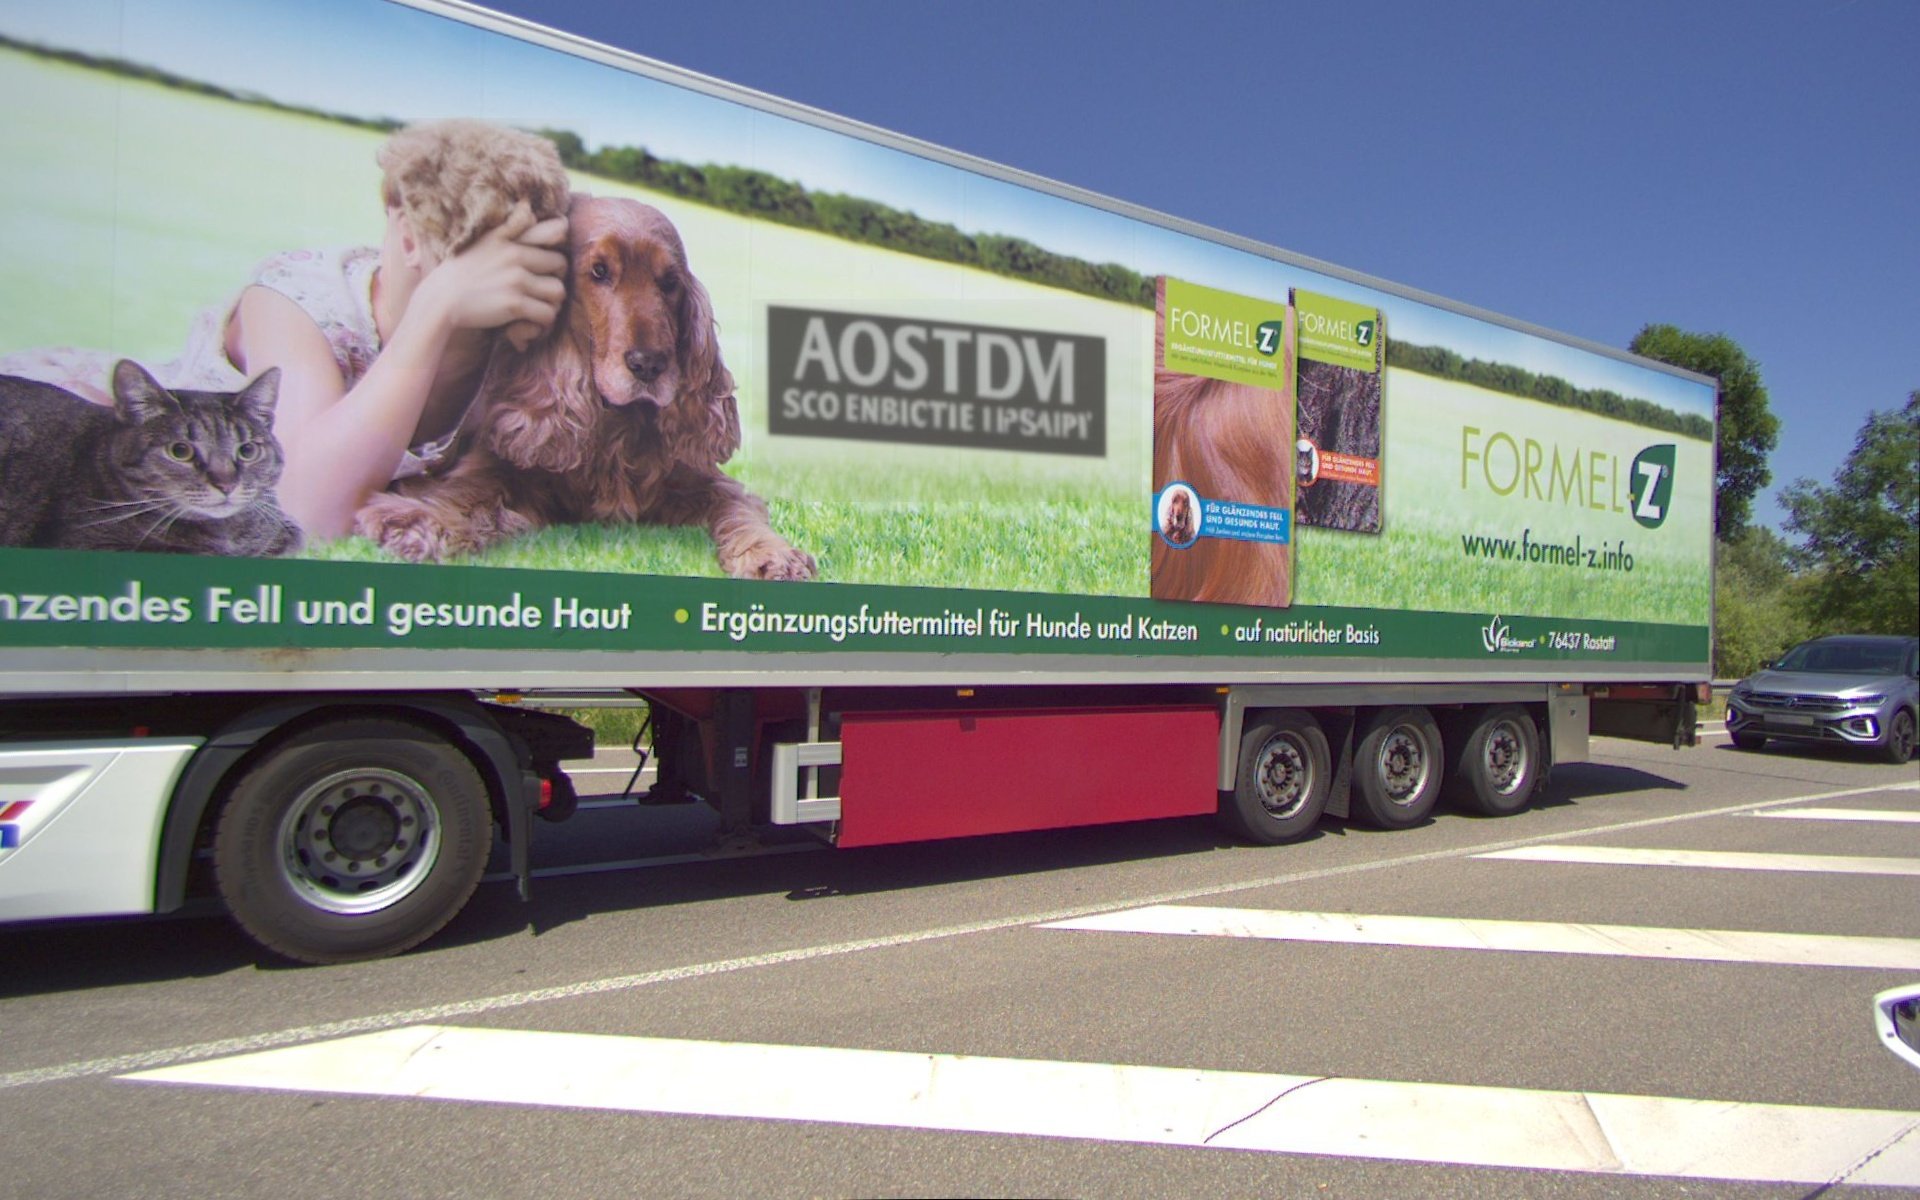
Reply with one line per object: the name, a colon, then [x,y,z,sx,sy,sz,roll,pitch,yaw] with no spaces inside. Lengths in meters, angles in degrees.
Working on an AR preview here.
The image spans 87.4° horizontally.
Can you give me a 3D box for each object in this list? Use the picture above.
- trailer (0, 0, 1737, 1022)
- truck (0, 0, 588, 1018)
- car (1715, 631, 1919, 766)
trailer: [0.904,-0.439,7.443,13.960,4.098,2.676,2,-1,-31]
truck: [-4.807,-0.649,4.072,5.757,4.098,2.676,2,-1,-30]
car: [12.309,1.251,13.731,4.105,1.582,1.704,2,-2,-30]
